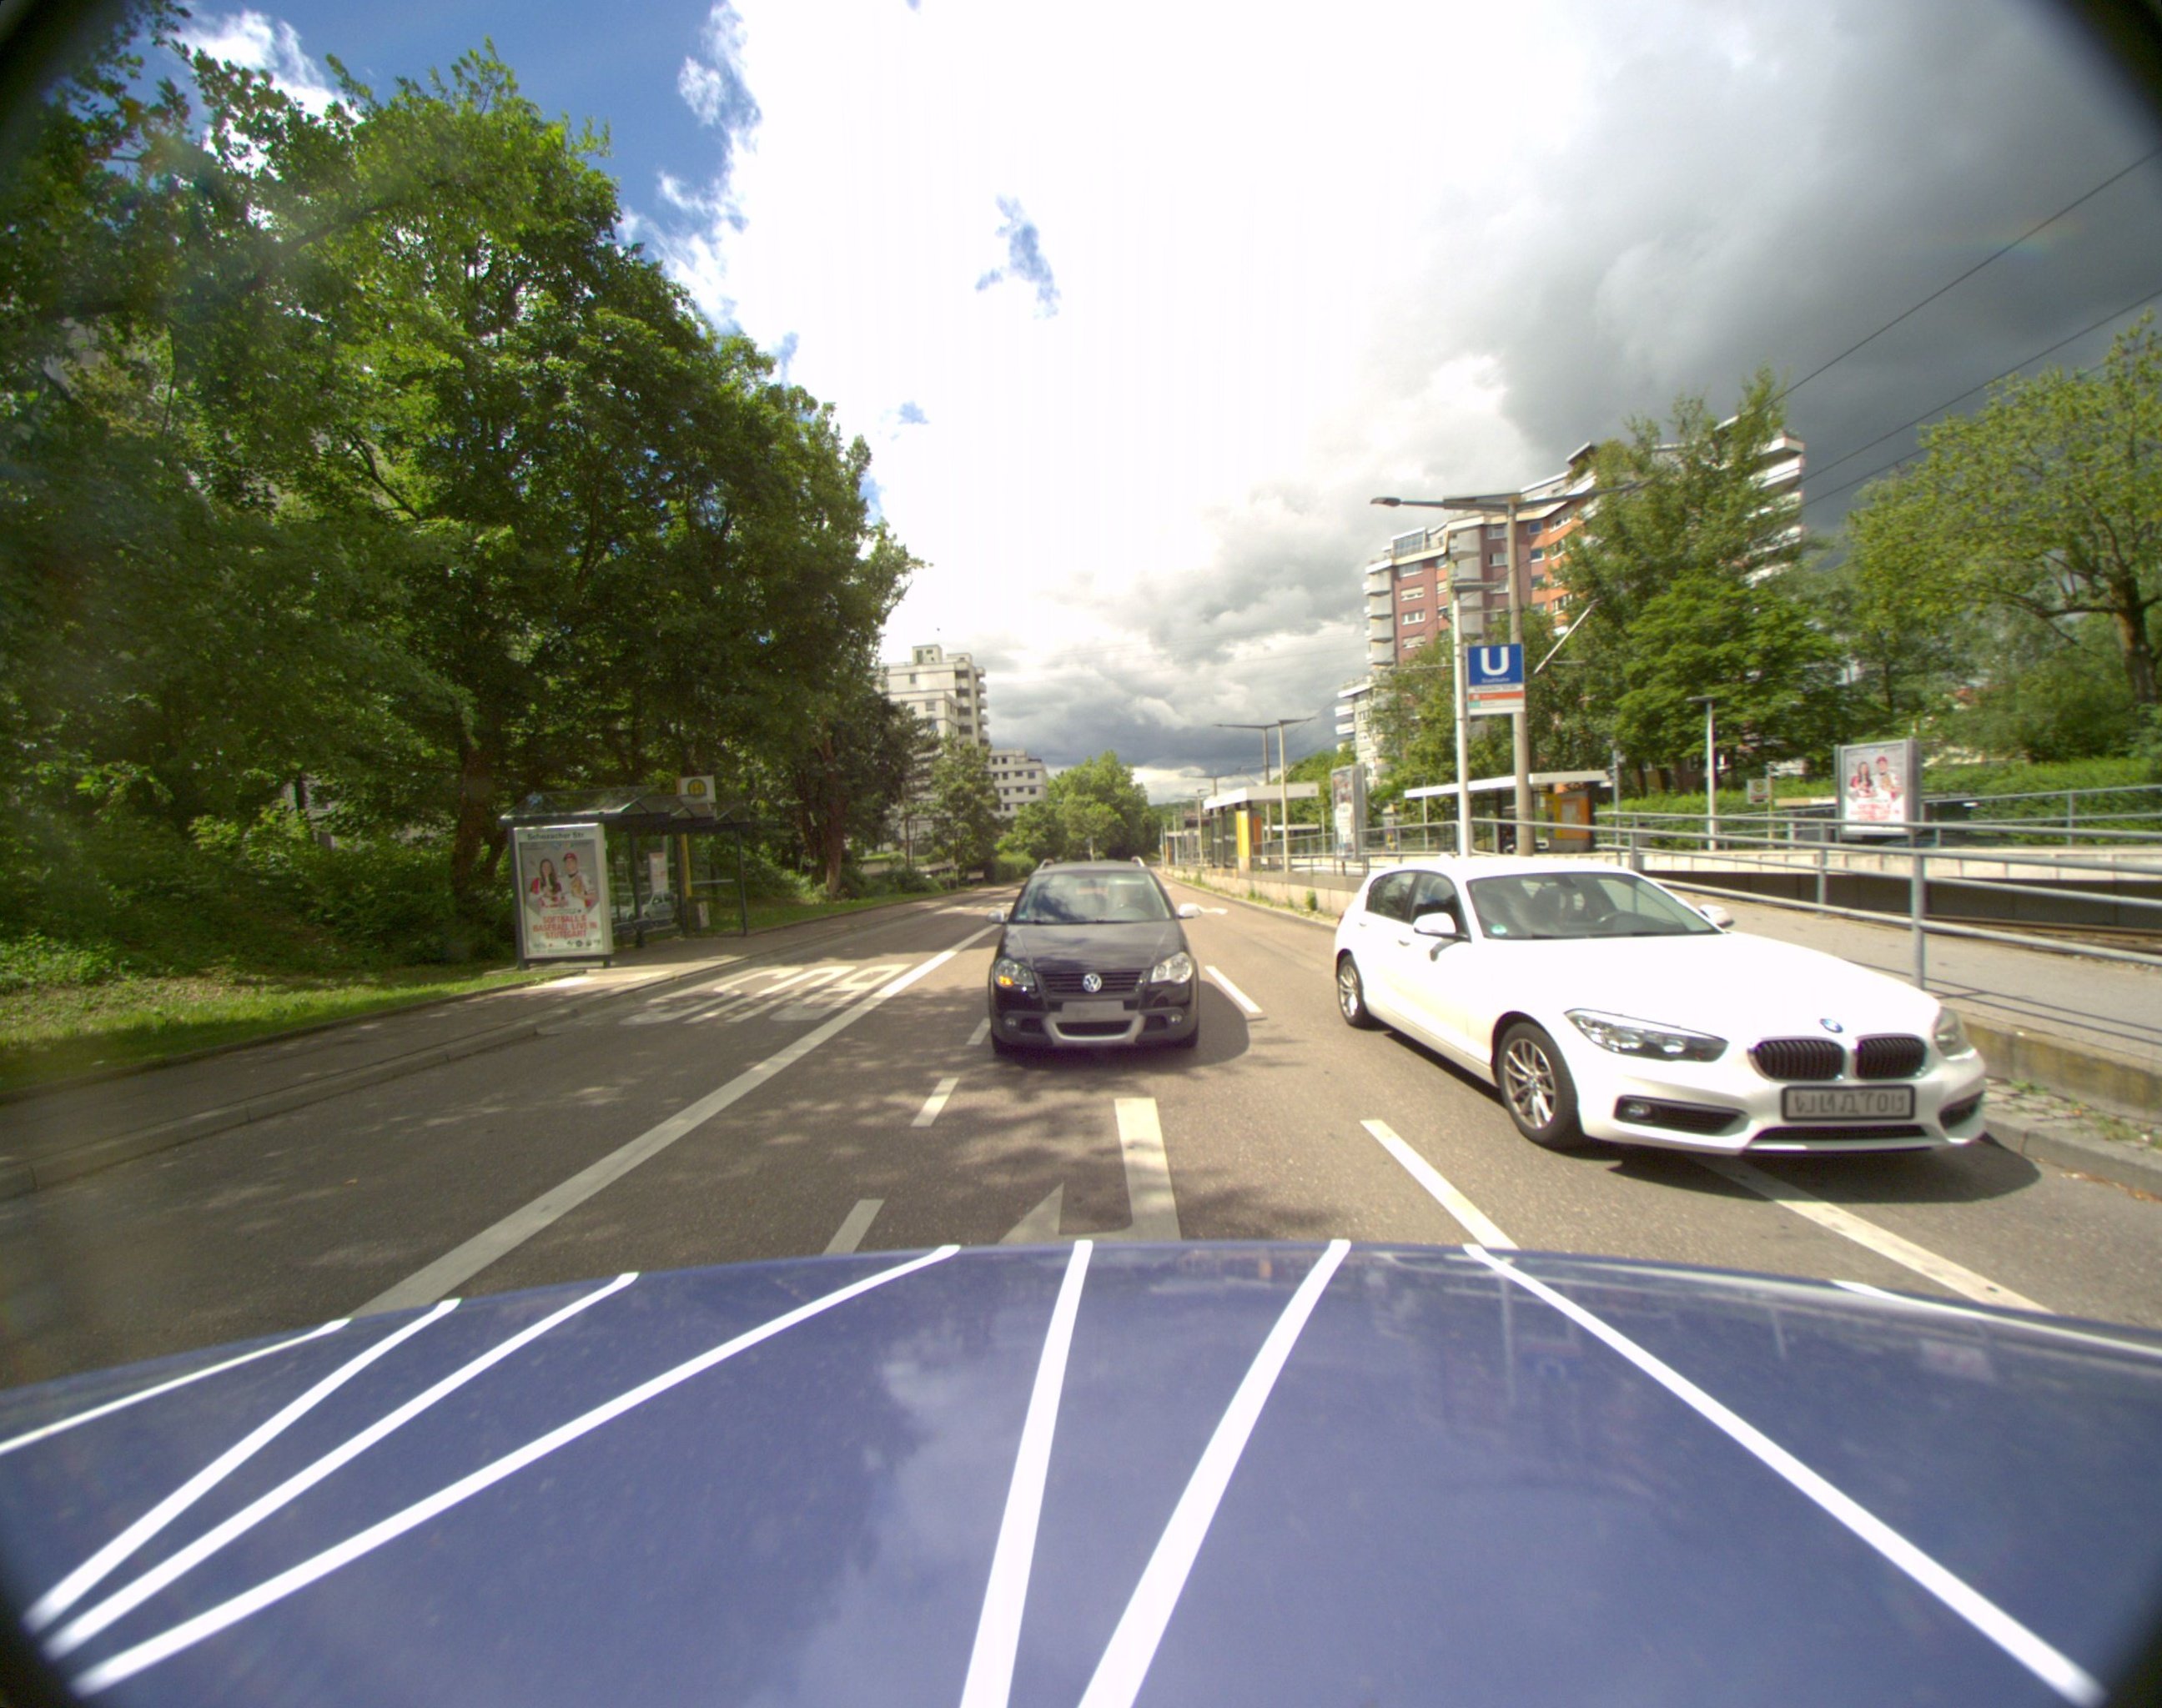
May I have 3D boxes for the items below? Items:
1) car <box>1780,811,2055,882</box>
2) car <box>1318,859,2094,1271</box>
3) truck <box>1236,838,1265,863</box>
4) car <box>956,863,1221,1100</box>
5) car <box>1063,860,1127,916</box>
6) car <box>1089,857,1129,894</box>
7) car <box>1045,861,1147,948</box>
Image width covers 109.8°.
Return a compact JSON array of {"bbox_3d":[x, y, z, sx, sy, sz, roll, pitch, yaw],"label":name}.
[{"bbox_3d":[19.479,-0.200,18.064,1.639,1.391,4.493,-3,1,1],"label":"car"},{"bbox_3d":[3.016,0.827,4.904,1.732,1.453,4.000,-2,1,1],"label":"car"},{"bbox_3d":[23.168,-0.442,104.254,2.420,3.203,7.263,-2,0,1],"label":"truck"},{"bbox_3d":[0.081,0.889,7.138,1.732,1.501,4.000,-2,0,1],"label":"car"},{"bbox_3d":[0.489,0.953,22.974,1.732,1.452,4.001,-2,0,3],"label":"car"},{"bbox_3d":[1.288,0.977,36.164,1.732,1.505,4.000,-2,1,1],"label":"car"},{"bbox_3d":[0.292,0.909,15.378,1.732,1.453,4.000,-2,0,1],"label":"car"}]
